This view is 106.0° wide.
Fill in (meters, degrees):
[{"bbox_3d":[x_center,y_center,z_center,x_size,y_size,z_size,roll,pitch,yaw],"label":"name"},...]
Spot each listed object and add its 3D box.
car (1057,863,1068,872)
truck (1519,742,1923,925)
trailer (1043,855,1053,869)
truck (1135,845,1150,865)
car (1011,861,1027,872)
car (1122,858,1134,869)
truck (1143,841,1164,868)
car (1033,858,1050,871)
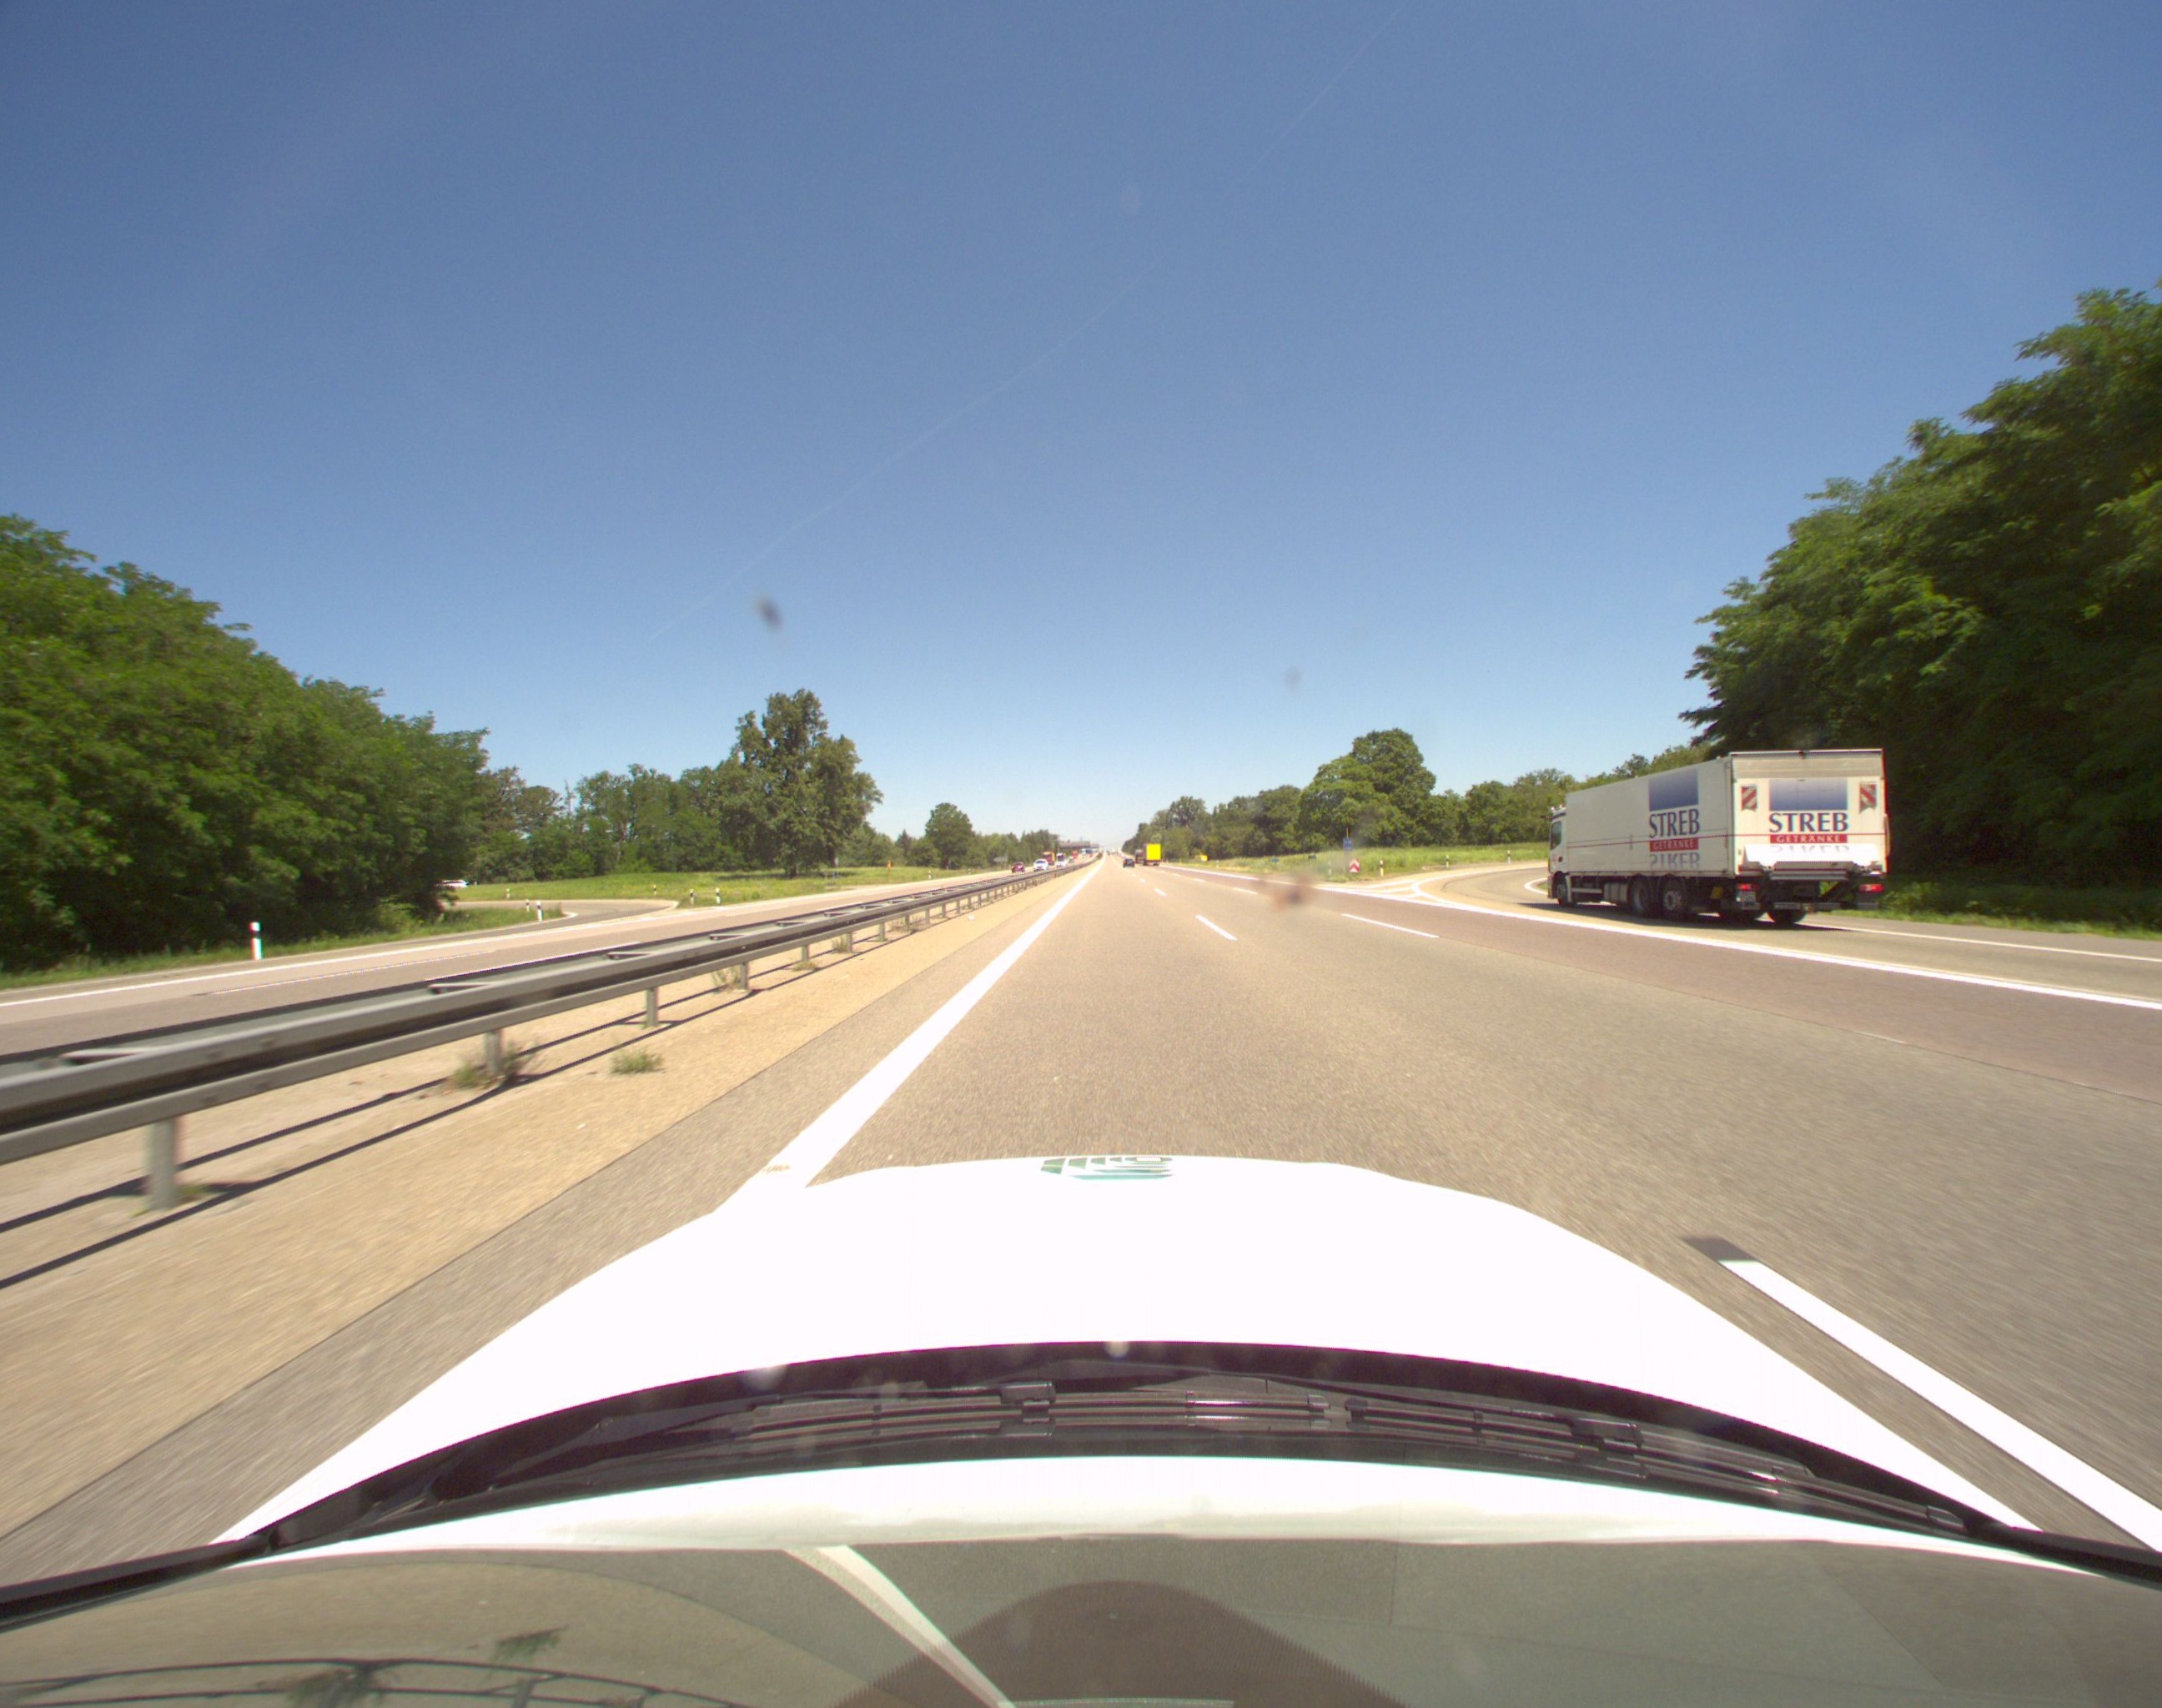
[{"bbox_3d":[-3.780,2.664,166.855,1.804,1.692,5.127,-2,0,2],"label":"car"},{"bbox_3d":[14.547,-0.337,20.280,3.010,3.319,10.797,-1,0,9],"label":"truck"},{"bbox_3d":[-9.360,2.260,231.625,2.593,3.992,6.032,-1,0,2],"label":"trailer"},{"bbox_3d":[15.331,0.314,203.505,3.353,4.881,15.096,-1,0,3],"label":"truck"},{"bbox_3d":[-9.327,1.937,122.569,1.756,1.495,4.077,-3,0,2],"label":"car"},{"bbox_3d":[7.451,1.541,129.266,1.820,1.706,4.001,-1,0,2],"label":"car"},{"bbox_3d":[13.781,0.109,156.532,3.363,4.881,15.096,-1,0,3],"label":"truck"},{"bbox_3d":[-5.355,1.444,110.890,1.756,1.692,4.821,-2,0,2],"label":"car"}]
